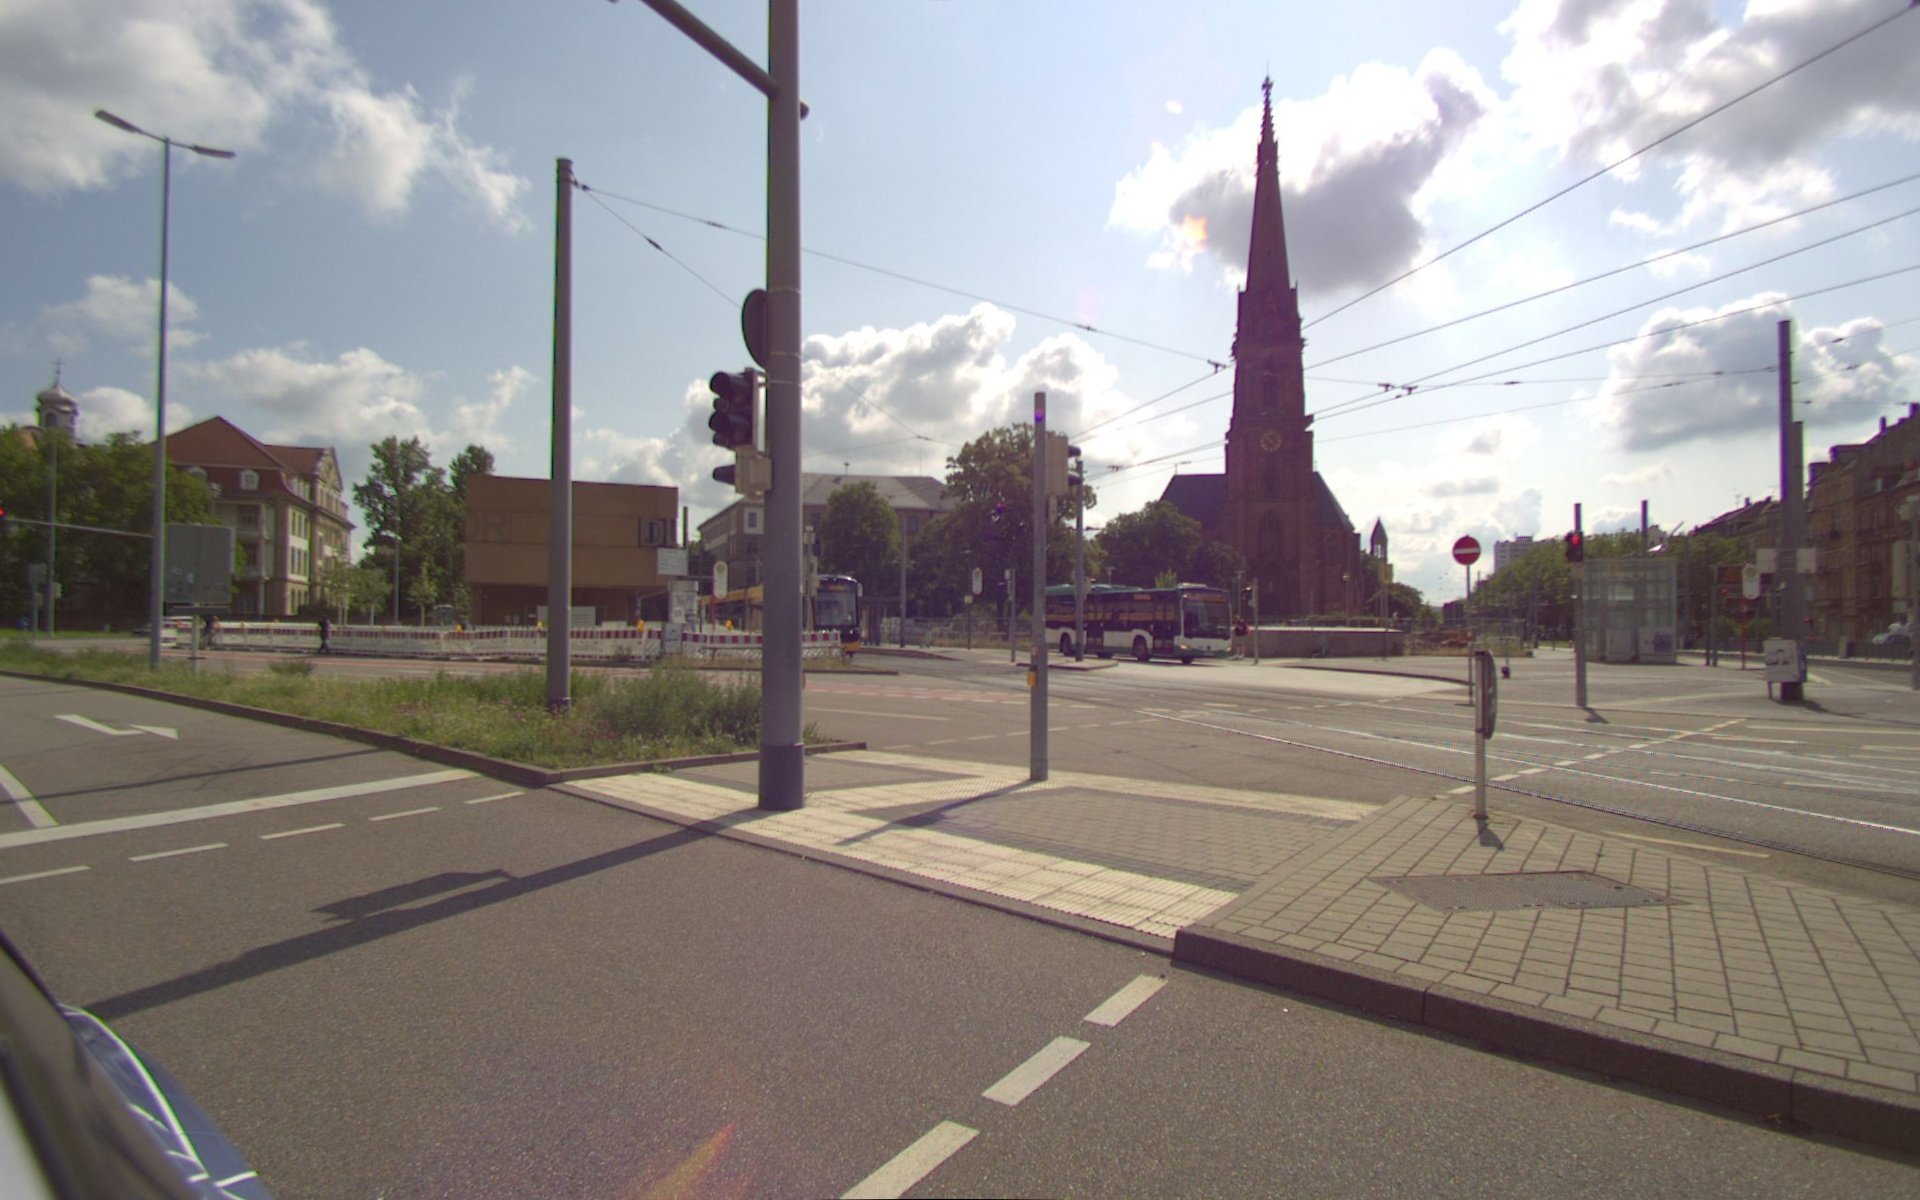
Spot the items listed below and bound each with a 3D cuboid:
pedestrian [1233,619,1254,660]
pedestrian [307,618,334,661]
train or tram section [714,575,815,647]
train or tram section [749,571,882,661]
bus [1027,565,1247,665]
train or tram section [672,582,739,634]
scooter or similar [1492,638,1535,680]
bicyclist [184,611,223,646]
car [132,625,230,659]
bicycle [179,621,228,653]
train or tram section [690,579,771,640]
[{"bbox_3d":[12.755,1.778,45.596,0.708,1.808,0.564,1,-2,-24],"label":"pedestrian"},{"bbox_3d":[-26.802,1.660,42.427,1.000,1.777,0.644,-1,-2,39],"label":"pedestrian"},{"bbox_3d":[-10.736,0.534,54.565,3.267,3.507,10.643,0,0,-22],"label":"train or tram section"},{"bbox_3d":[-6.668,0.609,44.645,3.267,3.507,10.643,0,0,-22],"label":"train or tram section"},{"bbox_3d":[7.037,0.754,43.419,2.865,3.648,12.417,1,-2,-24],"label":"bus"},{"bbox_3d":[-18.836,0.551,74.264,3.267,3.507,10.643,0,0,-22],"label":"train or tram section"},{"bbox_3d":[15.889,1.690,29.087,0.805,1.175,1.163,0,-2,14],"label":"scooter or similar"},{"bbox_3d":[-34.527,1.314,46.190,1.768,1.575,0.770,-1,-2,30],"label":"bicyclist"},{"bbox_3d":[-42.345,2.274,55.128,3.931,1.796,2.006,1,-2,-30],"label":"car"},{"bbox_3d":[-34.526,1.678,46.161,2.285,1.421,0.963,-1,-2,31],"label":"bicycle"},{"bbox_3d":[-14.794,0.542,64.430,3.267,3.507,10.643,0,0,-22],"label":"train or tram section"}]
